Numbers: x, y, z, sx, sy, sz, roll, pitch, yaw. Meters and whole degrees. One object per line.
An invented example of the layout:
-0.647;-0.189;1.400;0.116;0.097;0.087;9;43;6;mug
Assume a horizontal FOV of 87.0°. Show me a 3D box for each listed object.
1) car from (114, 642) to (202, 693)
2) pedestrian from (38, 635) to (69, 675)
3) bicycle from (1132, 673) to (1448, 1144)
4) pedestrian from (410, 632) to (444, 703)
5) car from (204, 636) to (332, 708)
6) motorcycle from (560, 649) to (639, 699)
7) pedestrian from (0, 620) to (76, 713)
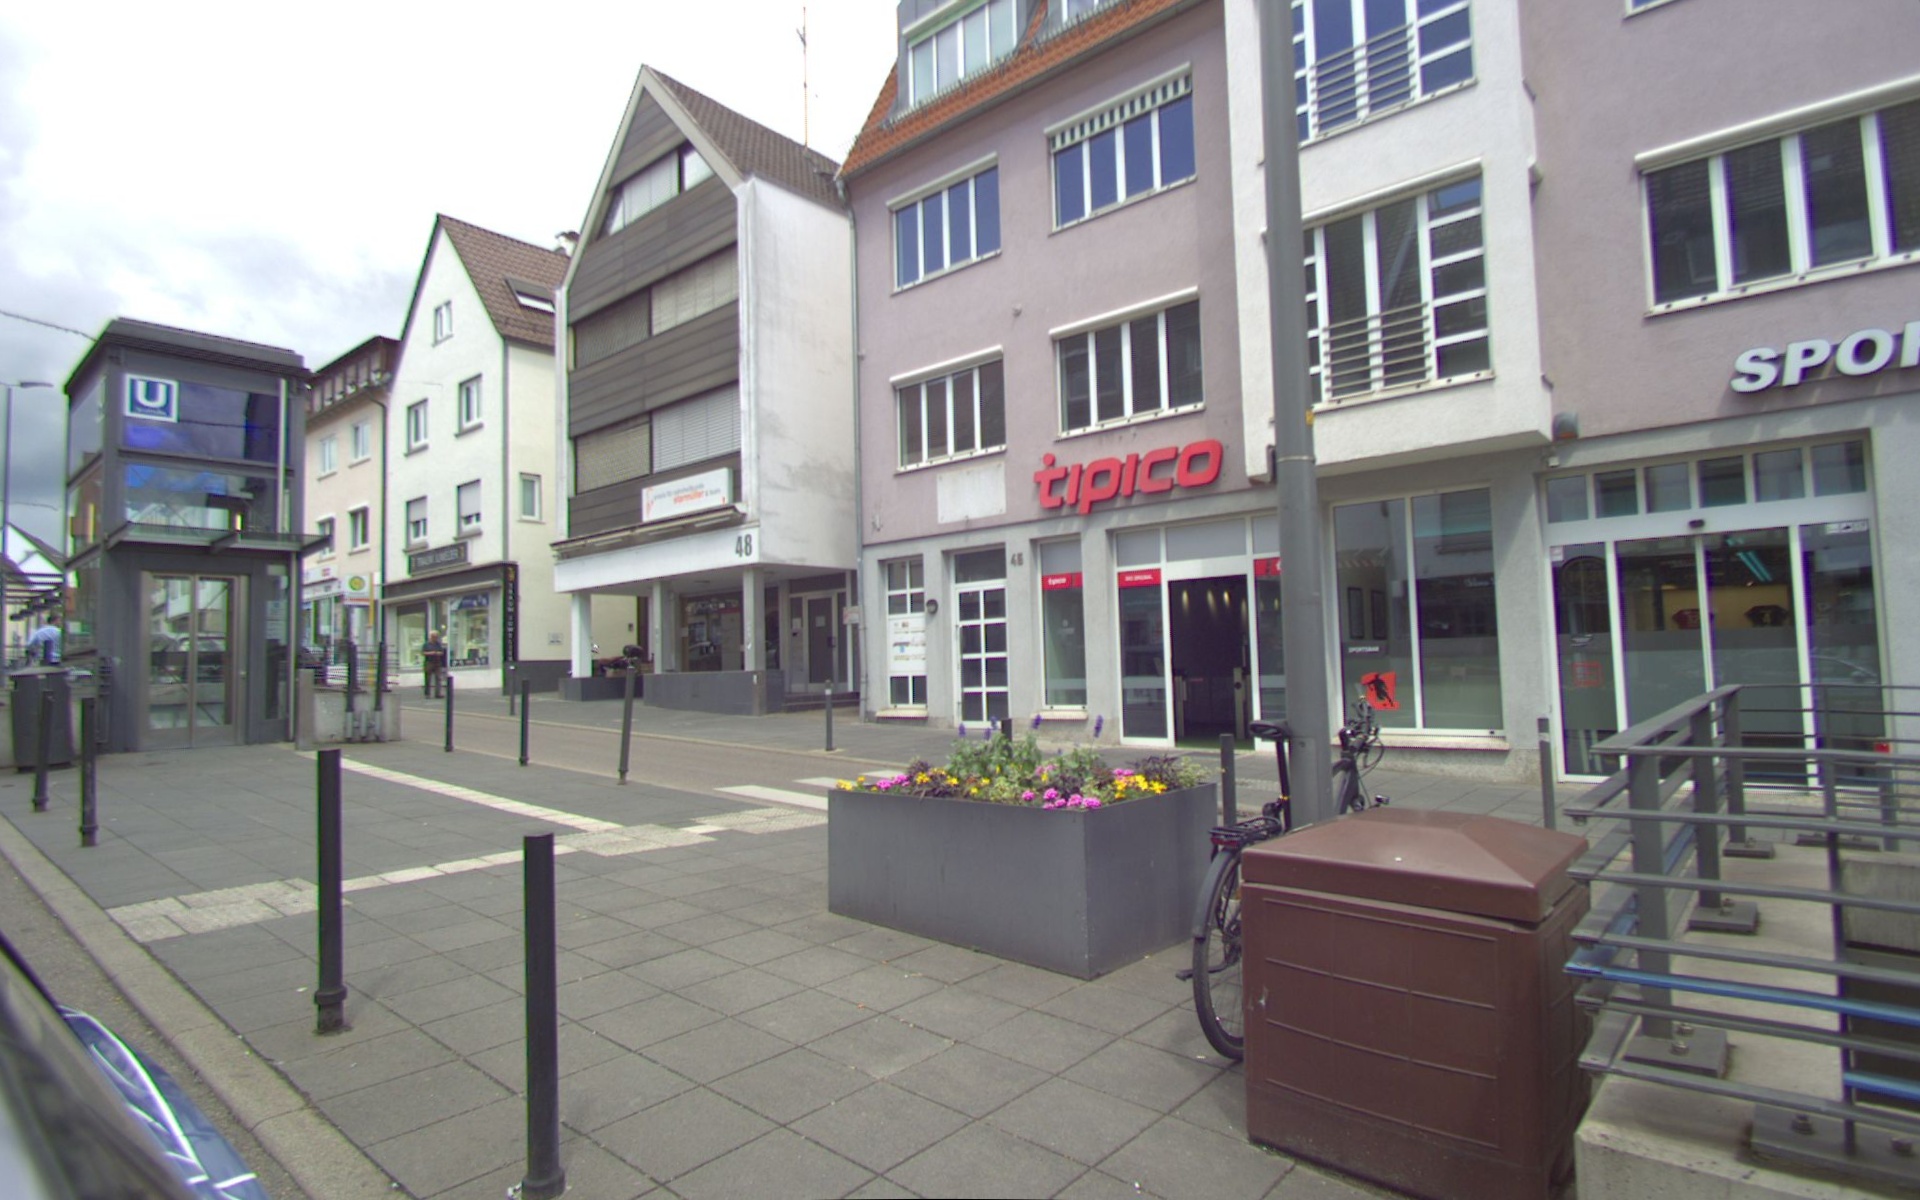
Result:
-28.053;2.298;35.363;4.120;1.583;1.662;-1;-1;41;car
-37.910;2.294;42.330;0.648;1.642;0.743;-1;-1;1;pedestrian
1.261;0.907;3.624;0.459;1.232;1.760;-1;-3;40;bicycle
-13.229;1.661;25.105;0.513;1.729;0.584;-1;-1;41;pedestrian
-17.497;1.753;25.508;4.120;1.583;1.662;-1;-1;41;car
-9.201;1.865;25.904;0.633;1.149;1.830;-1;-1;40;motorcycle
-19.393;1.369;21.295;0.931;1.856;1.083;-1;-1;41;pedestrian
